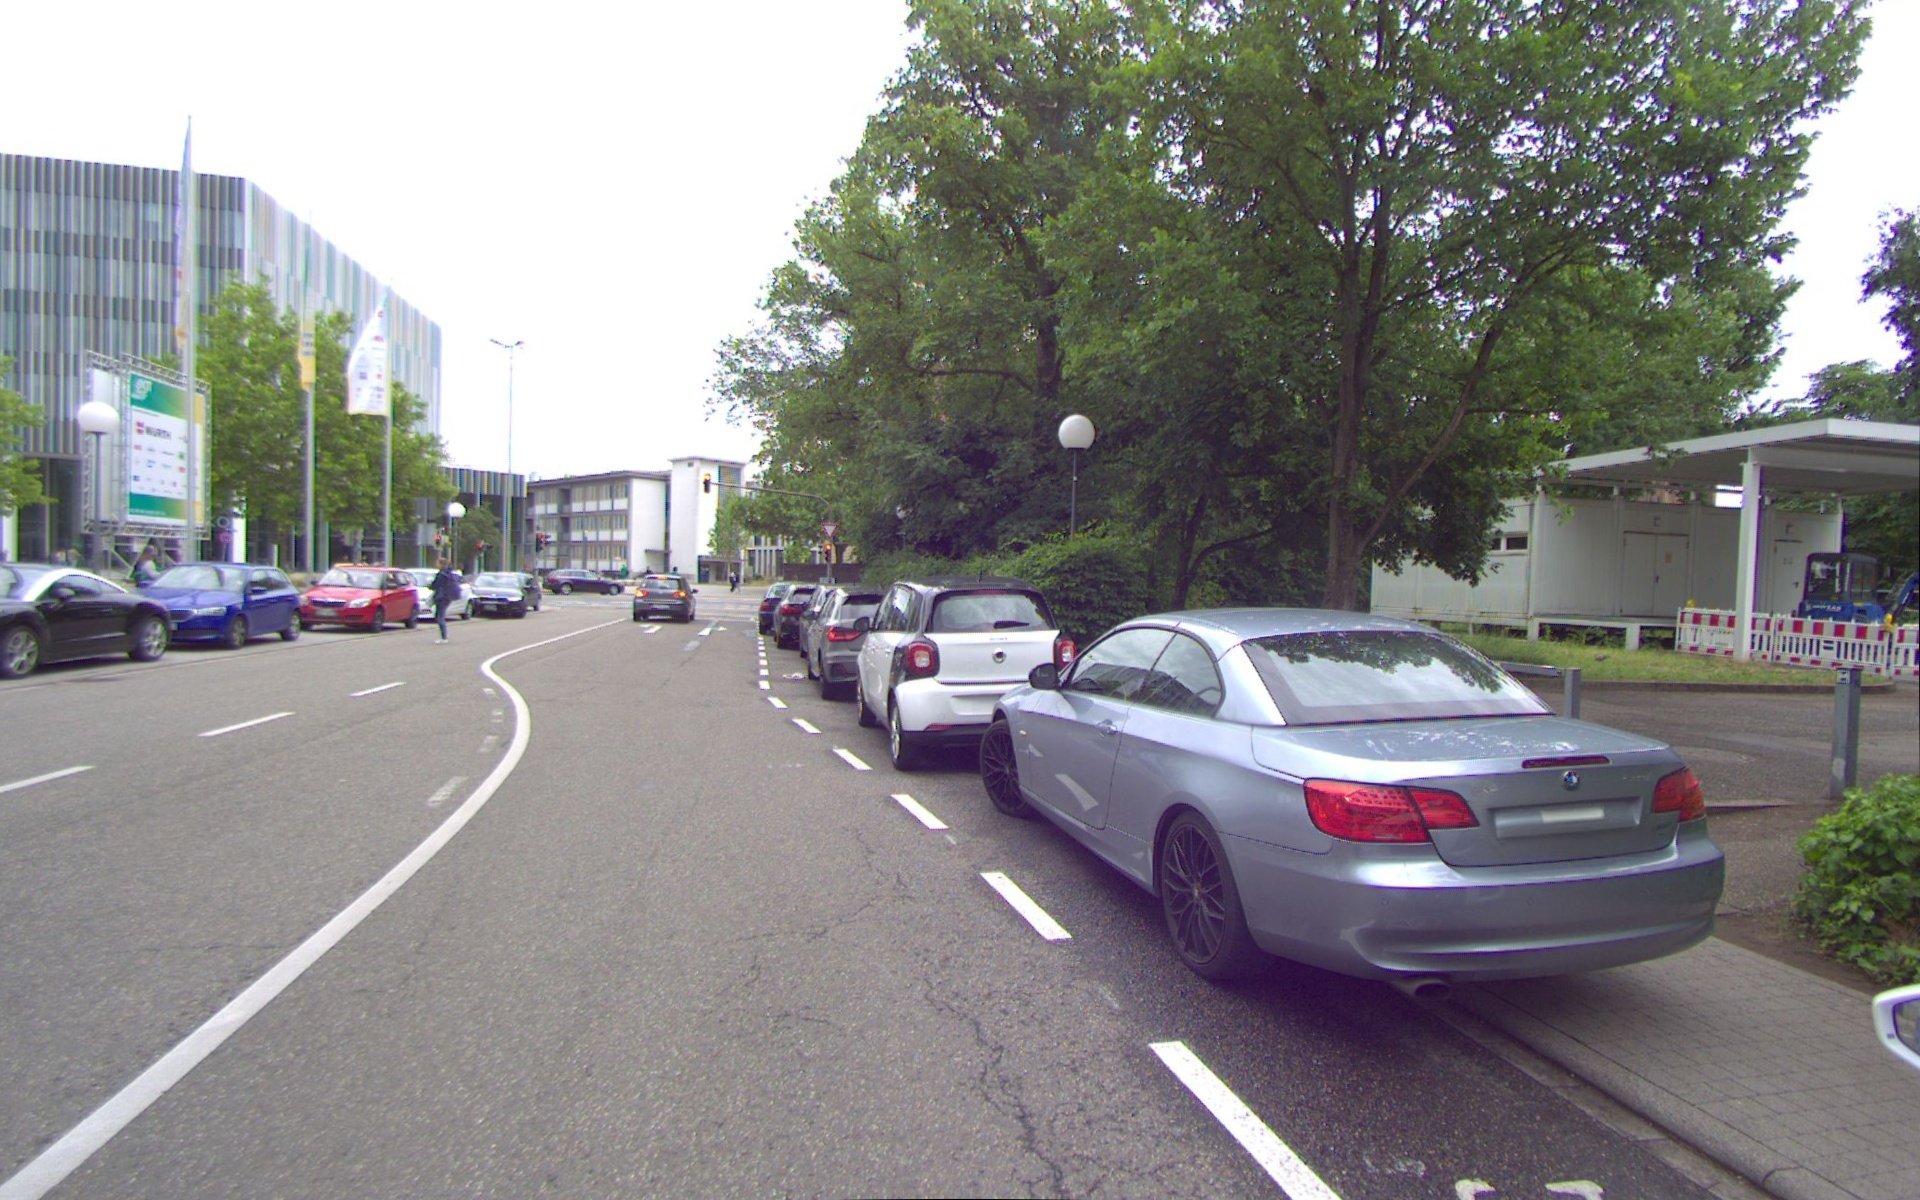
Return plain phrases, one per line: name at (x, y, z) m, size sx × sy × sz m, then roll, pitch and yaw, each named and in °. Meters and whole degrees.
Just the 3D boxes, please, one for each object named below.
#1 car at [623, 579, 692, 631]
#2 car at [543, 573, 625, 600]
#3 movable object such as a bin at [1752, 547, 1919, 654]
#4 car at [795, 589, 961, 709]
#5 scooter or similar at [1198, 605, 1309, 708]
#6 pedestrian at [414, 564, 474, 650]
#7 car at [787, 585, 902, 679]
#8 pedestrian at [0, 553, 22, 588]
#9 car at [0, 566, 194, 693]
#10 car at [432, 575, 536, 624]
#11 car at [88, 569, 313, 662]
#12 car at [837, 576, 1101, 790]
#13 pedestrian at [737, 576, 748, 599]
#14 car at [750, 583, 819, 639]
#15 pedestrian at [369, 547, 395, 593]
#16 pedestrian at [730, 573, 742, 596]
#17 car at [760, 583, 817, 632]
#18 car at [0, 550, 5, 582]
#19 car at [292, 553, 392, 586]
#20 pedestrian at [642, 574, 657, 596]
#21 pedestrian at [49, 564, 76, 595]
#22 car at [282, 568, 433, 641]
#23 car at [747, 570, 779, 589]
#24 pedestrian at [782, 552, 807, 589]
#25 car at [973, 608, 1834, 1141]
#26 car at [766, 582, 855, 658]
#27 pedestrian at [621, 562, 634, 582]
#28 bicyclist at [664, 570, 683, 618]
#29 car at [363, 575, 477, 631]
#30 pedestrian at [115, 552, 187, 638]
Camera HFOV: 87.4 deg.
car at (-9.780, 0.107, 32.743) m, size 1.757 × 1.517 × 4.158 m, roll 2°, pitch 1°, yaw -12°
car at (-22.048, -0.789, 58.925) m, size 4.240 × 1.509 × 1.984 m, roll 0°, pitch 2°, yaw -30°
movable object such as a bin at (20.702, 0.064, 22.715) m, size 4.593 × 2.200 × 1.993 m, roll 2°, pitch 1°, yaw -15°
car at (-1.297, 0.580, 14.082) m, size 1.739 × 1.431 × 3.997 m, roll 1°, pitch 0°, yaw -13°
scooter or similar at (3.763, 0.700, 12.905) m, size 1.283 × 1.226 × 0.450 m, roll 2°, pitch 1°, yaw 29°
pedestrian at (-10.402, 0.139, 20.288) m, size 0.727 × 1.684 × 0.967 m, roll 2°, pitch 0°, yaw -6°
car at (-2.242, 0.517, 18.602) m, size 1.737 × 1.491 × 3.815 m, roll 2°, pitch 1°, yaw -12°
pedestrian at (-56.317, -1.753, 59.482) m, size 0.843 × 2.040 × 0.996 m, roll 0°, pitch -1°, yaw -22°
car at (-12.295, 0.340, 13.125) m, size 1.821 × 1.461 × 4.410 m, roll 1°, pitch -1°, yaw -11°
car at (-16.069, -0.054, 33.815) m, size 1.854 × 1.420 × 4.420 m, roll 2°, pitch 1°, yaw -43°
car at (-13.468, 0.196, 18.156) m, size 1.672 × 1.430 × 4.362 m, roll 2°, pitch 1°, yaw -15°
car at (-0.136, 0.617, 9.600) m, size 1.692 × 1.607 × 3.868 m, roll 1°, pitch 0°, yaw -13°
pedestrian at (-16.424, -0.959, 75.922) m, size 0.565 × 1.687 × 0.620 m, roll 1°, pitch 1°, yaw 40°
car at (-4.995, 0.270, 28.983) m, size 1.770 × 1.427 × 4.330 m, roll 2°, pitch 1°, yaw -8°
pedestrian at (-22.036, -1.152, 38.293) m, size 0.574 × 1.738 × 0.658 m, roll 1°, pitch 1°, yaw 18°
pedestrian at (-16.760, -1.152, 75.160) m, size 0.614 × 1.689 × 0.616 m, roll 1°, pitch 1°, yaw 37°
car at (-5.821, 0.209, 34.093) m, size 1.771 × 1.489 × 4.240 m, roll 2°, pitch 1°, yaw -10°
car at (-51.944, -1.764, 50.912) m, size 4.758 × 1.685 × 1.994 m, roll 1°, pitch 1°, yaw -14°
car at (-33.507, -1.644, 54.559) m, size 4.118 × 1.640 × 1.997 m, roll 1°, pitch 1°, yaw -9°
pedestrian at (-24.184, -1.178, 78.176) m, size 0.795 × 1.686 × 0.789 m, roll -2°, pitch -3°, yaw 32°
pedestrian at (-60.297, -1.400, 67.487) m, size 0.982 × 2.040 × 0.855 m, roll 0°, pitch -1°, yaw -4°
car at (-14.200, 0.080, 23.960) m, size 1.688 × 1.493 × 4.263 m, roll 3°, pitch 0°, yaw -12°
car at (-22.461, -2.353, 114.643) m, size 1.961 × 1.601 × 4.407 m, roll -7°, pitch -4°, yaw 8°
pedestrian at (-7.539, -1.324, 45.756) m, size 1.026 × 1.641 × 0.656 m, roll 1°, pitch 2°, yaw -13°
car at (1.472, 0.805, 5.093) m, size 1.793 × 1.407 × 4.181 m, roll 1°, pitch 1°, yaw -14°
car at (-3.605, 0.421, 23.670) m, size 1.772 × 1.582 × 4.520 m, roll 2°, pitch 0°, yaw -12°
pedestrian at (-30.165, -2.559, 91.189) m, size 0.896 × 1.737 × 0.943 m, roll 0°, pitch 2°, yaw -32°
bicyclist at (-11.153, -0.236, 39.102) m, size 0.649 × 1.803 × 0.979 m, roll 1°, pitch 1°, yaw -19°
car at (-15.411, 0.043, 28.881) m, size 1.834 × 1.472 × 3.849 m, roll 1°, pitch 1°, yaw -12°
pedestrian at (-16.080, -0.109, 19.996) m, size 0.723 × 1.663 × 0.930 m, roll 1°, pitch 1°, yaw -7°
